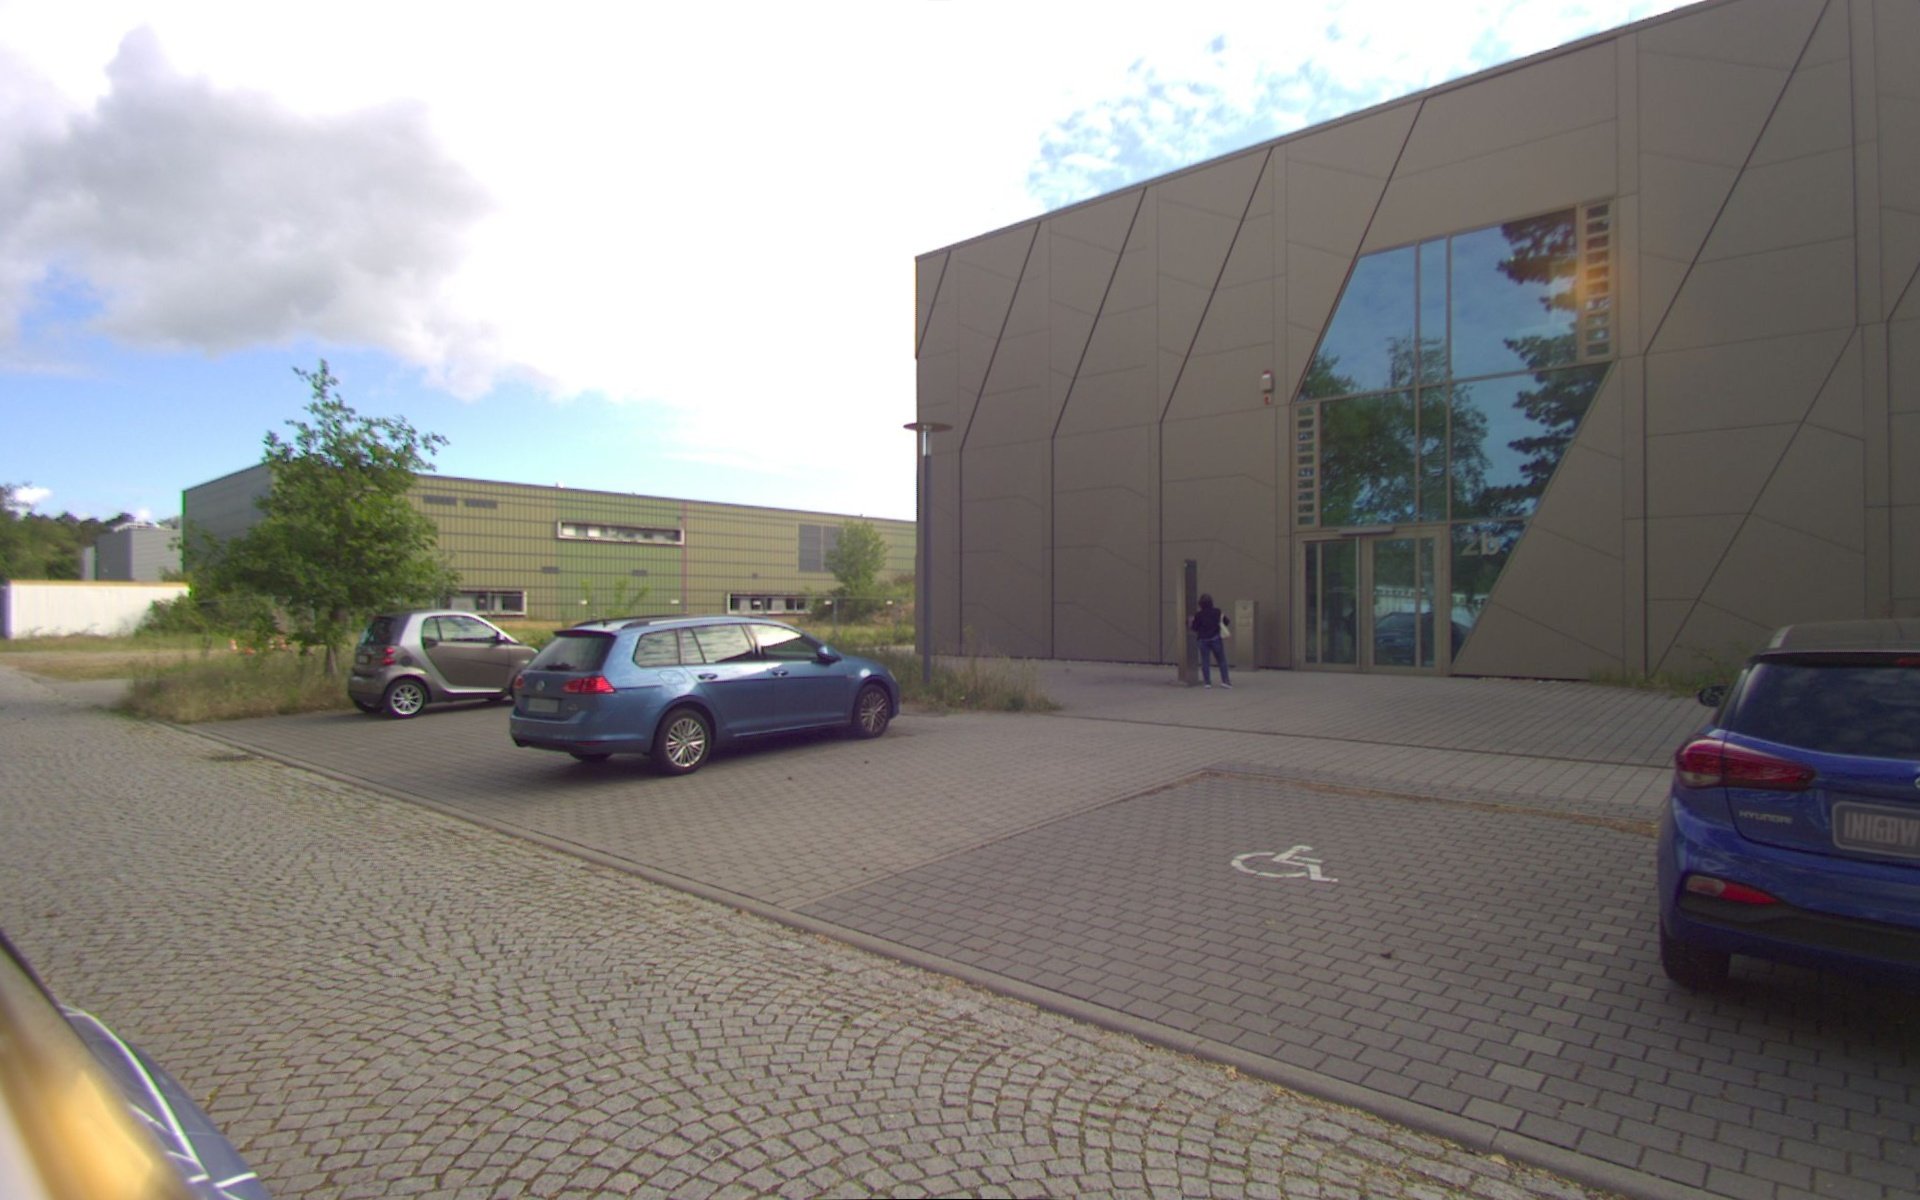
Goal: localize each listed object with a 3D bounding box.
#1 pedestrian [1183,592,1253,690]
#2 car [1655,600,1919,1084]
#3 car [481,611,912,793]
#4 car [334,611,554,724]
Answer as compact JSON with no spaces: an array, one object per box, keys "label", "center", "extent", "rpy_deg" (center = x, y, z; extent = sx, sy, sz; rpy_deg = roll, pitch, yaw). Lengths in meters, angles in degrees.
[{"label":"pedestrian","center":[4.126,0.639,16.143],"extent":[0.816,1.506,0.975],"rpy_deg":[-1,-1,33]},{"label":"car","center":[4.512,0.771,4.417],"extent":[1.852,1.489,3.724],"rpy_deg":[-1,0,44]},{"label":"car","center":[-2.568,0.896,10.803],"extent":[1.771,1.439,4.265],"rpy_deg":[-1,0,38]},{"label":"car","center":[-7.959,0.964,15.709],"extent":[1.609,1.522,2.627],"rpy_deg":[-1,0,40]}]
